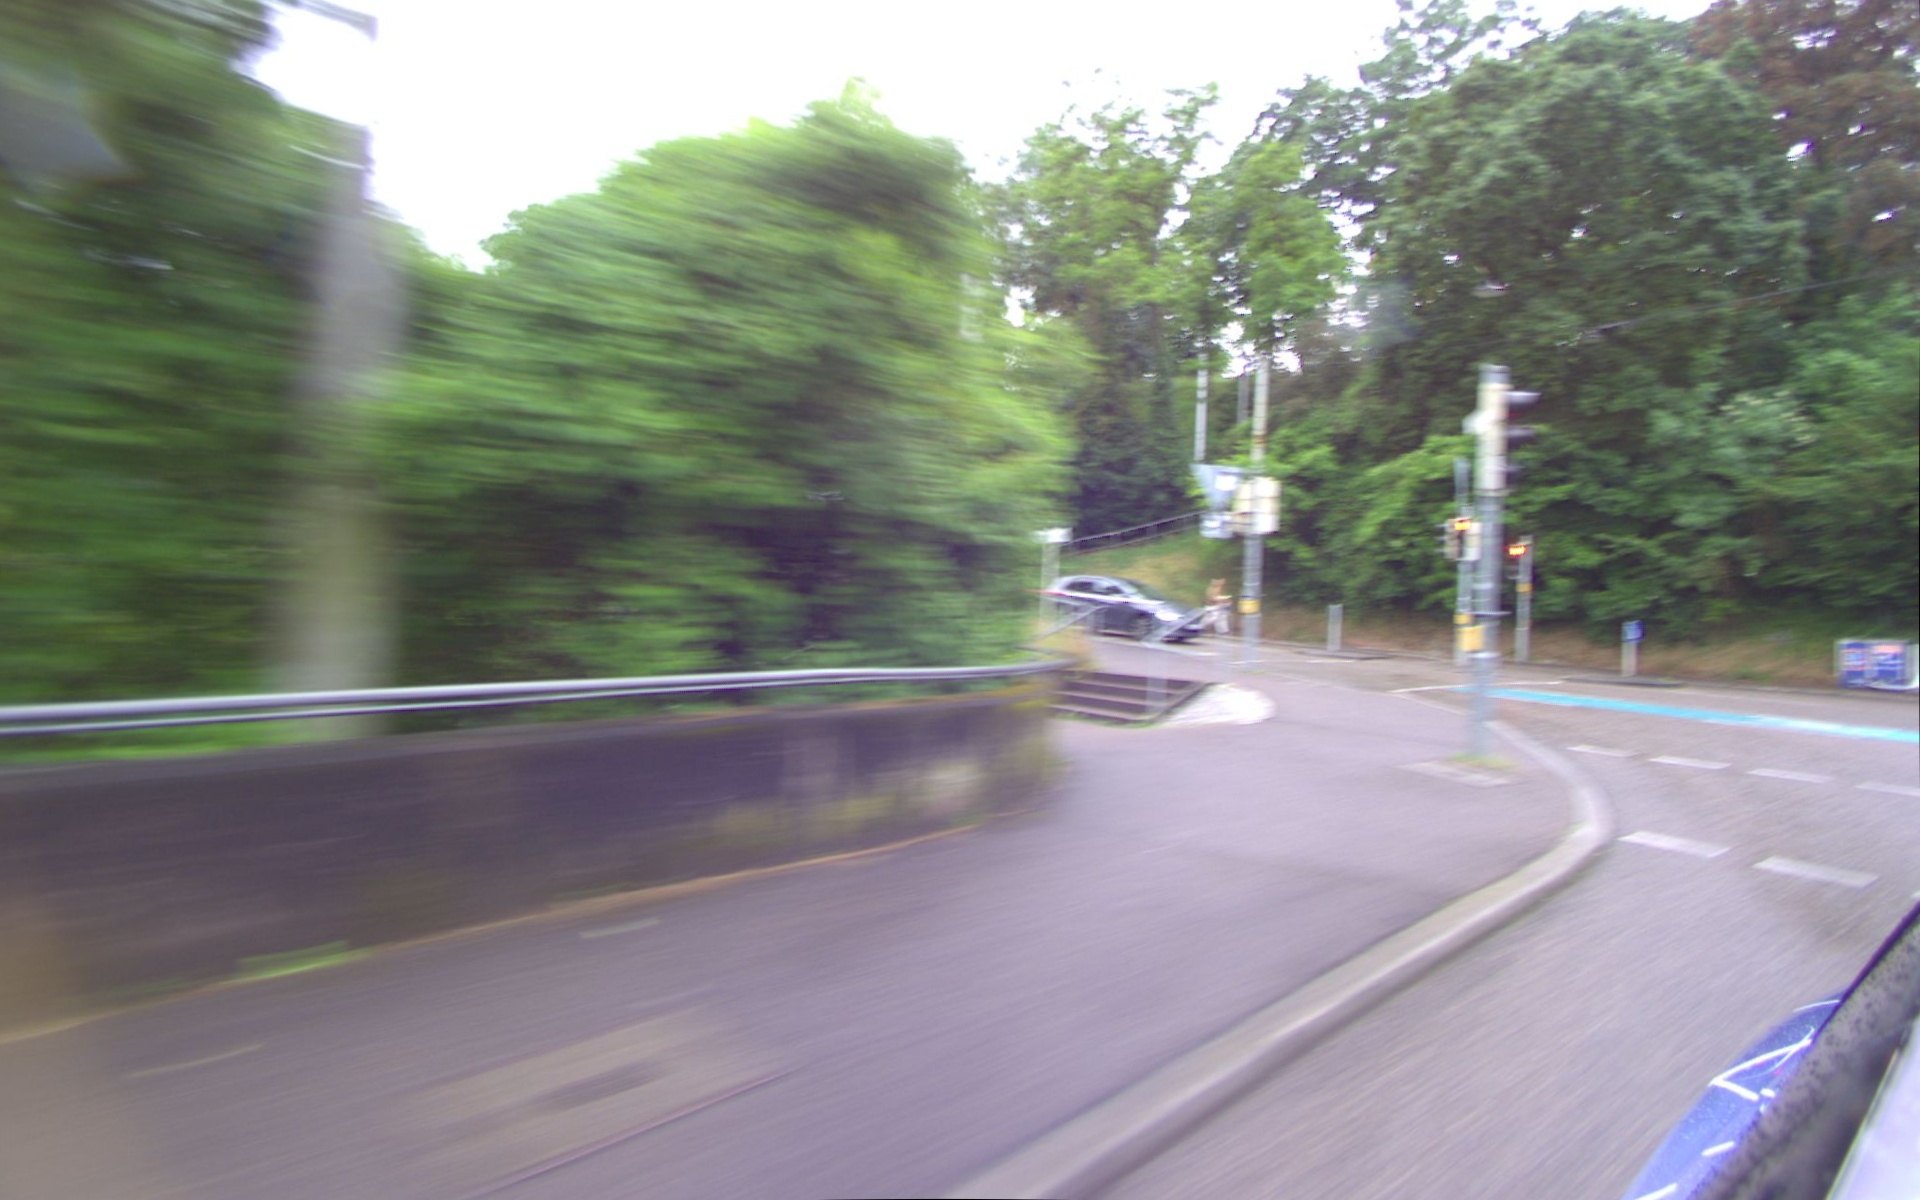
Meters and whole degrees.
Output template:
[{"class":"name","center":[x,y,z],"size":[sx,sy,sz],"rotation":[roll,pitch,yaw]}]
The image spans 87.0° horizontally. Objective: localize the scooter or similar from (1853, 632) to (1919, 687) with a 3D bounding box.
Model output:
[{"class":"scooter or similar","center":[20.135,1.277,21.377],"size":[0.592,1.089,1.771],"rotation":[4,-1,-30]}]

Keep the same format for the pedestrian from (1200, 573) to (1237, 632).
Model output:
[{"class":"pedestrian","center":[8.094,0.083,31.707],"size":[0.796,1.774,0.640],"rotation":[5,-1,40]}]

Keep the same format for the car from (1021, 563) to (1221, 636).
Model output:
[{"class":"car","center":[3.891,-0.048,25.116],"size":[1.857,1.540,4.683],"rotation":[3,1,-43]}]
